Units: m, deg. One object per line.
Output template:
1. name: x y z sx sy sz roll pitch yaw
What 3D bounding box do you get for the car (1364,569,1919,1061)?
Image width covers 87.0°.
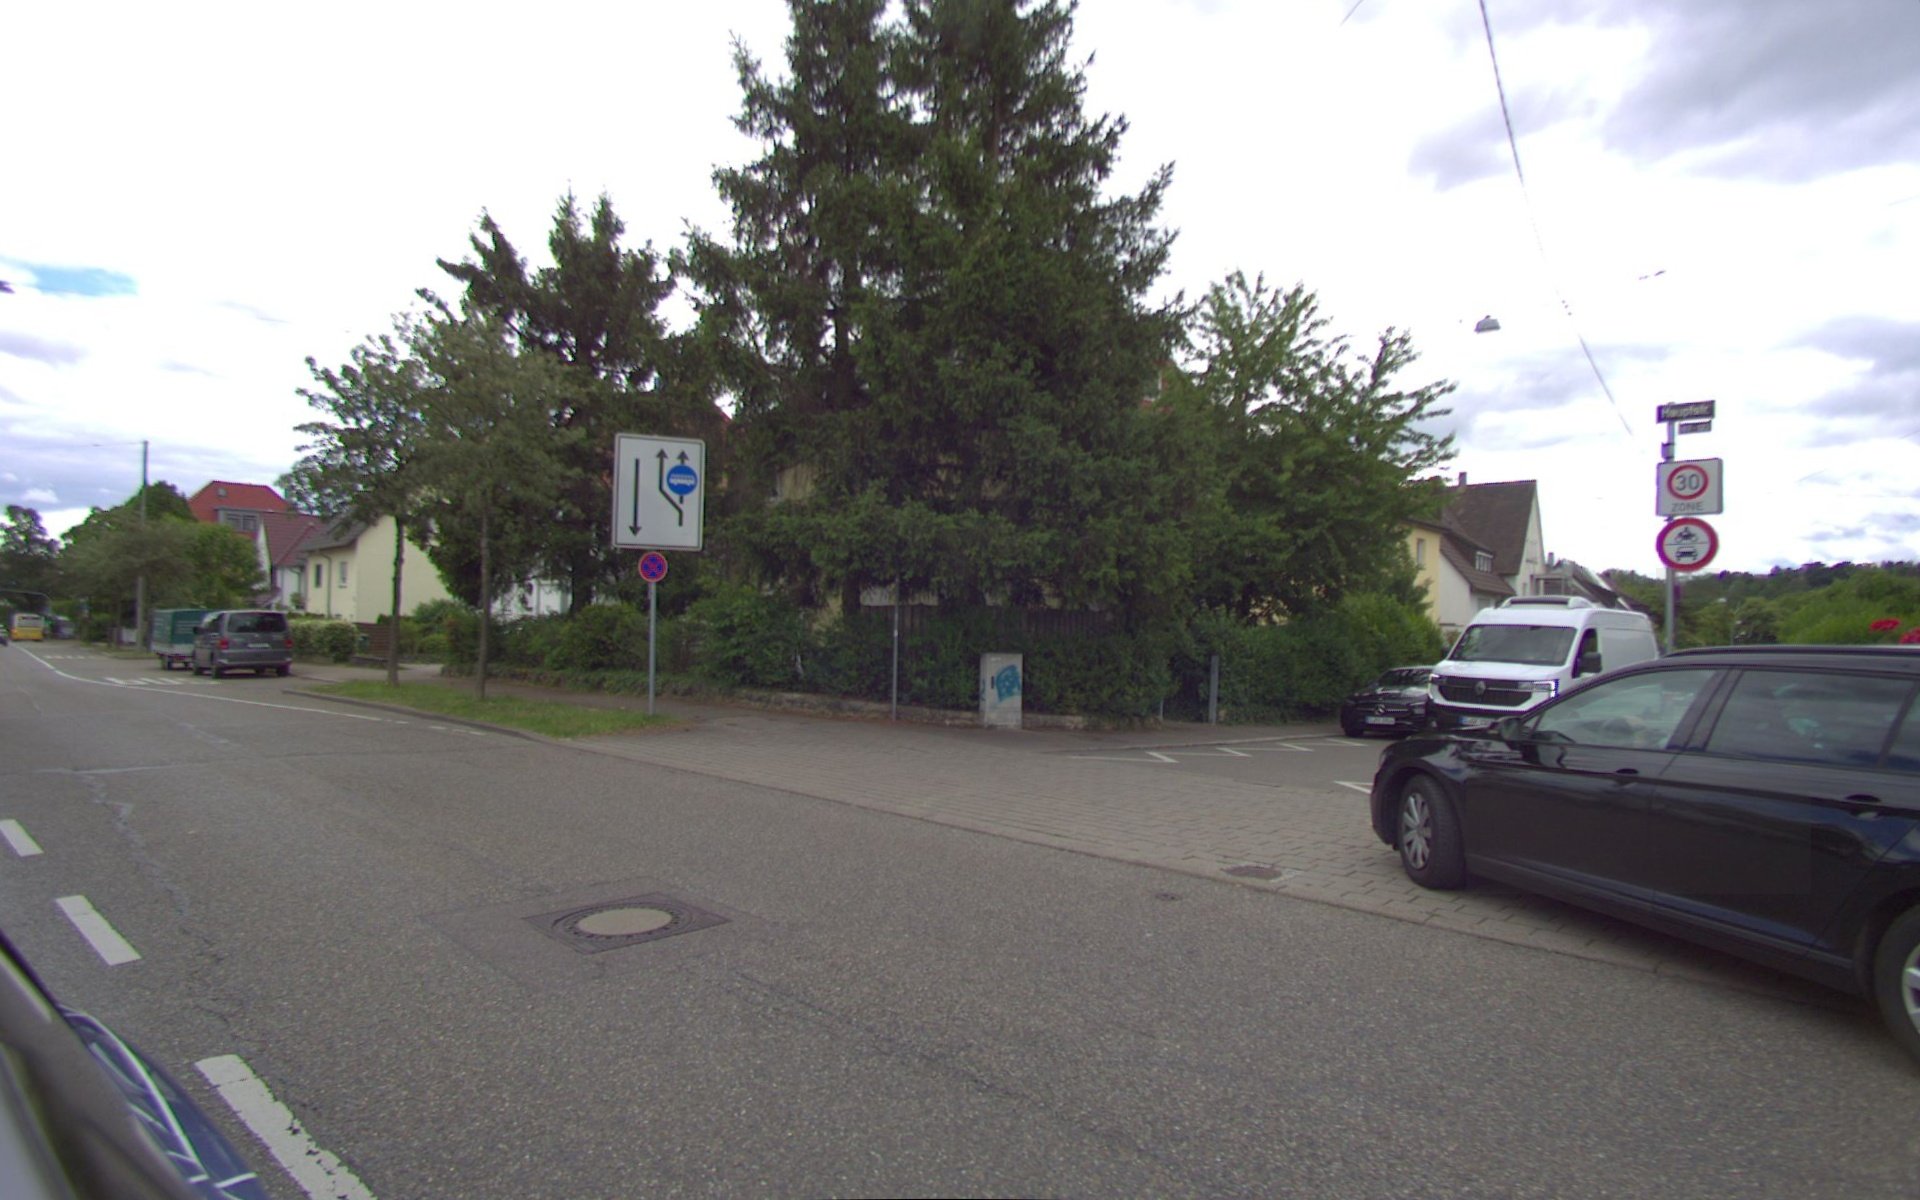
1. car: 4.006 0.754 4.314 1.967 1.633 4.659 1 -2 -12

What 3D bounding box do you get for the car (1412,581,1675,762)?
1. car: 9.960 1.185 17.042 5.535 2.583 2.134 4 -3 -41

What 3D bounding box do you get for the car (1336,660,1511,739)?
1. car: 9.107 1.905 19.737 1.798 1.364 4.073 -4 -6 45

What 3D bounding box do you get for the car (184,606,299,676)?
1. car: -21.972 1.233 30.872 4.900 1.964 1.971 -2 -3 45

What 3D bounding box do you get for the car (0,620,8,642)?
1. car: -71.467 2.268 74.583 1.799 1.616 4.302 5 -4 -43

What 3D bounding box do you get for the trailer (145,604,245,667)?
1. trailer: -27.084 1.250 35.778 4.427 2.104 2.130 -2 -3 44

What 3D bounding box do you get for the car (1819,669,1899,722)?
1. car: 28.952 3.020 32.620 1.810 1.533 3.698 -1 -3 41
